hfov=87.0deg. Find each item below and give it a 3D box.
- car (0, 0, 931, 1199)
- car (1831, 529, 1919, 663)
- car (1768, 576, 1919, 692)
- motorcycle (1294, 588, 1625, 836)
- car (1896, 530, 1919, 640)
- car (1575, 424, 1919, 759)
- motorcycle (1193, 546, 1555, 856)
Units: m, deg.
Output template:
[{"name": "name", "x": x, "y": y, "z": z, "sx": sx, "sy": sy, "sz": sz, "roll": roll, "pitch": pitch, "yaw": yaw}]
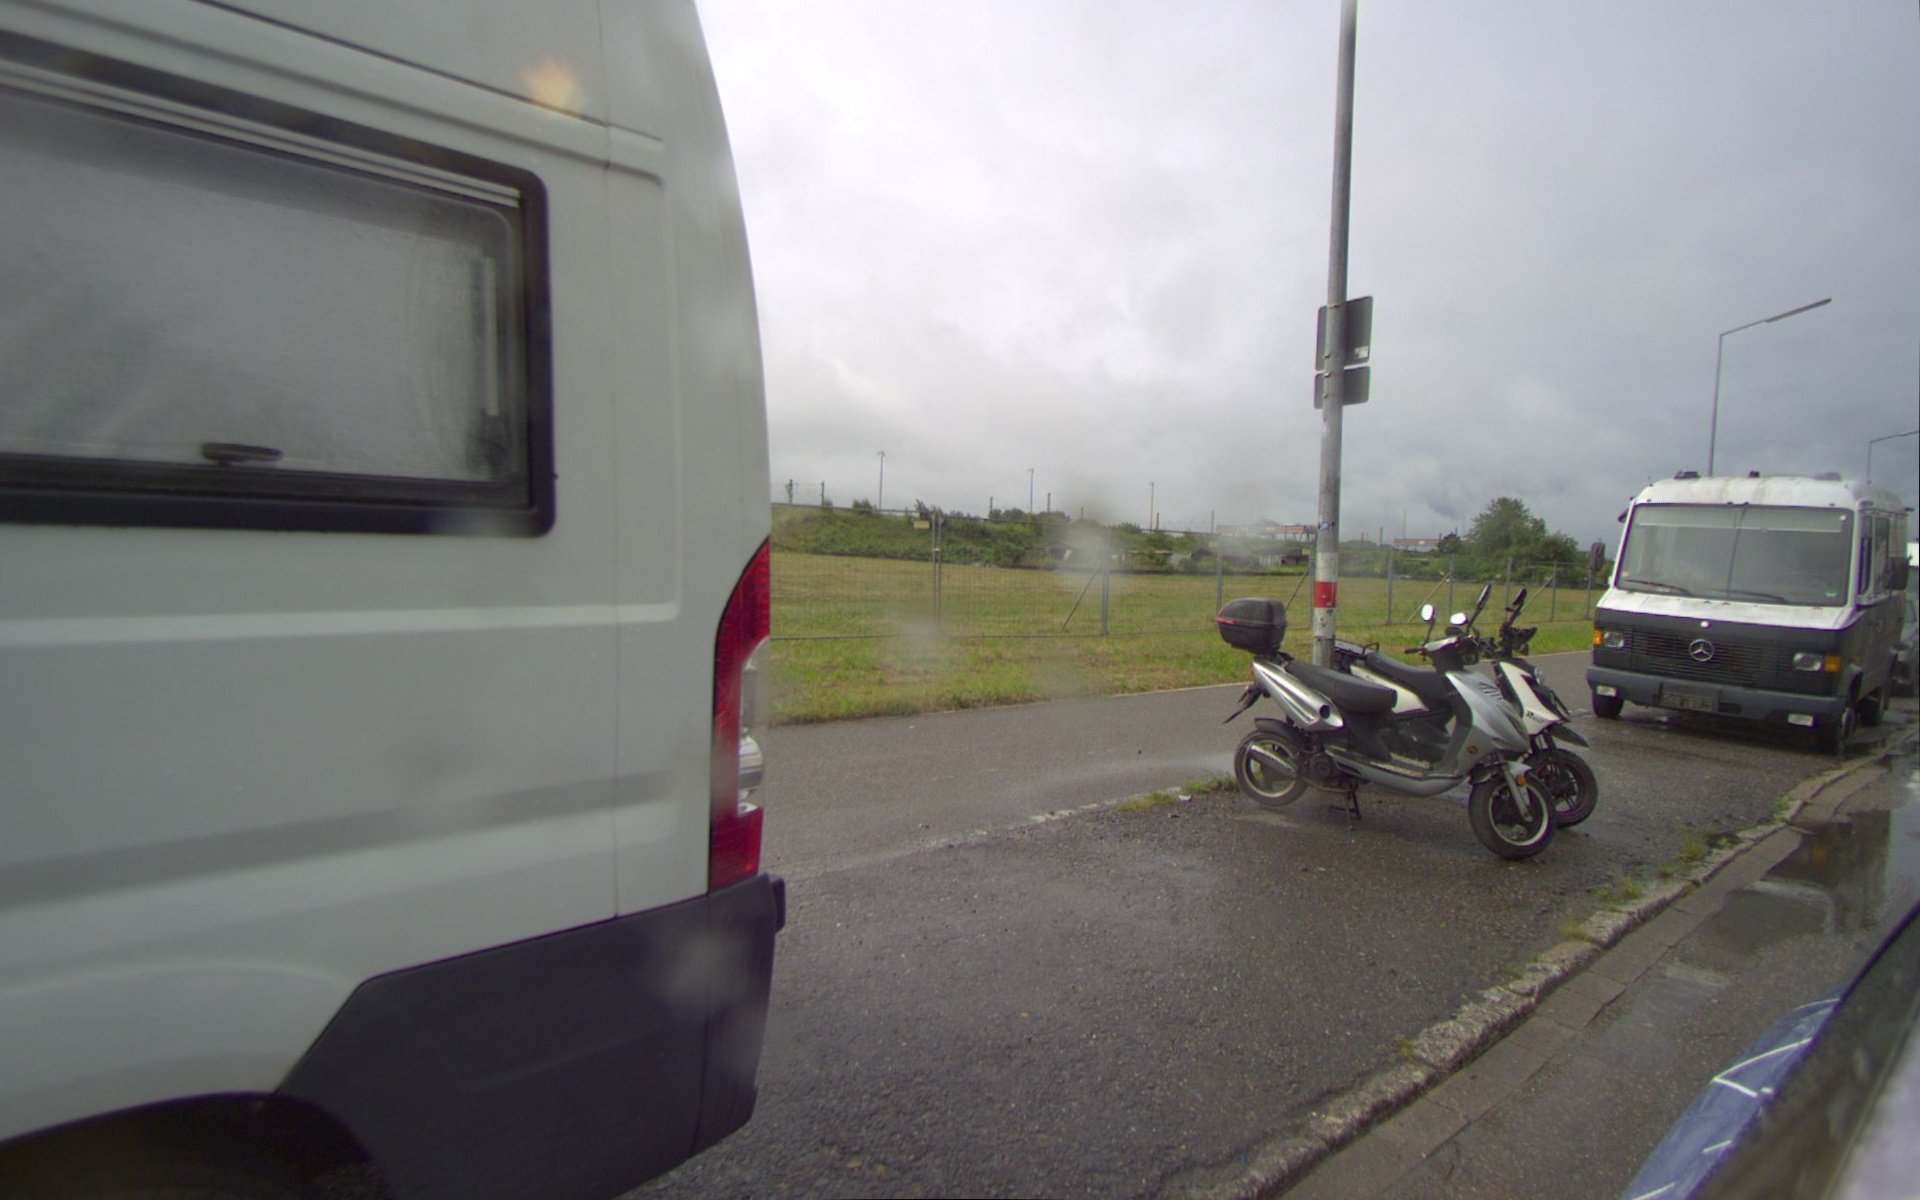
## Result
[{"name": "car", "x": -2.960, "y": -0.013, "z": 0.581, "sx": 5.844, "sy": 2.502, "sz": 2.097, "roll": -1, "pitch": 5, "yaw": -41}, {"name": "car", "x": 21.044, "y": -0.063, "z": 21.952, "sx": 6.538, "sy": 2.559, "sz": 2.074, "roll": 0, "pitch": 4, "yaw": -40}, {"name": "car", "x": 14.603, "y": 0.455, "z": 16.135, "sx": 4.361, "sy": 1.512, "sz": 1.735, "roll": 0, "pitch": 5, "yaw": -39}, {"name": "motorcycle", "x": 3.042, "y": 0.618, "z": 6.299, "sx": 1.661, "sy": 1.209, "sz": 0.643, "roll": 6, "pitch": 5, "yaw": 28}, {"name": "car", "x": 29.281, "y": -0.341, "z": 28.979, "sx": 6.761, "sy": 2.991, "sz": 2.478, "roll": 0, "pitch": 4, "yaw": -39}, {"name": "car", "x": 9.052, "y": -0.198, "z": 11.327, "sx": 5.187, "sy": 2.917, "sz": 2.149, "roll": -1, "pitch": 6, "yaw": -43}, {"name": "motorcycle", "x": 2.254, "y": 0.454, "z": 5.615, "sx": 1.639, "sy": 1.390, "sz": 0.712, "roll": 7, "pitch": 5, "yaw": 36}]
